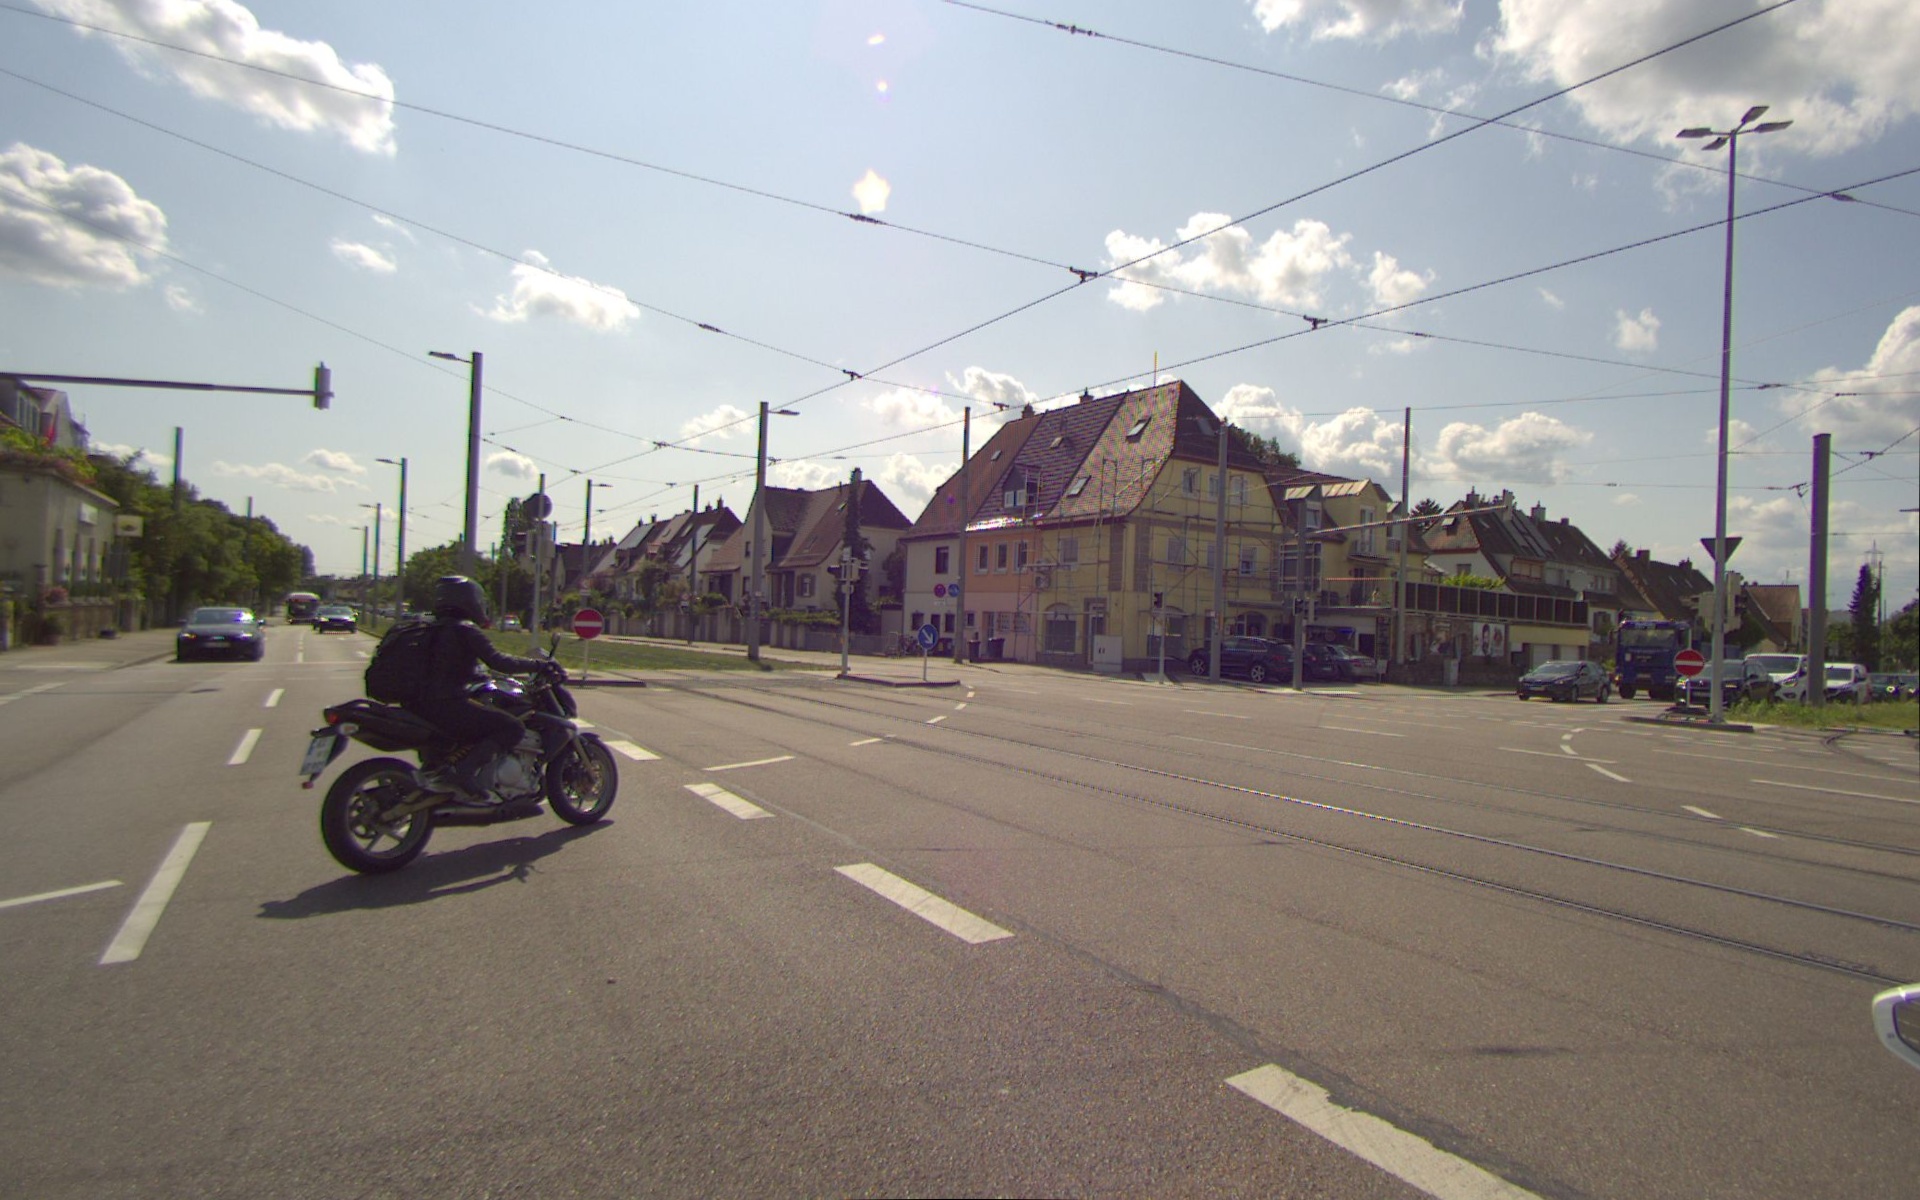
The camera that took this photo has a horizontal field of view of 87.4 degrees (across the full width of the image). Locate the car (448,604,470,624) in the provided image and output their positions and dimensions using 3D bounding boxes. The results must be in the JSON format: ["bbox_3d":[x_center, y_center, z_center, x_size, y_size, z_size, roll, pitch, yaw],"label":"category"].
[{"bbox_3d":[-54.097,1.497,108.384,1.976,2.040,3.970,2,-1,-29],"label":"car"}]

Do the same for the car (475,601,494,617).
[{"bbox_3d":[-62.796,1.174,132.572,1.976,2.040,3.970,2,-2,-29],"label":"car"}]

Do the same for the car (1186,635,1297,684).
[{"bbox_3d":[10.613,2.209,38.077,1.169,1.513,4.101,3,0,-38],"label":"car"}]

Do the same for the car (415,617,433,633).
[{"bbox_3d":[-69.079,3.194,129.496,1.976,2.040,3.970,2,-1,-29],"label":"car"}]

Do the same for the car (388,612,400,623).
[{"bbox_3d":[-101.096,3.113,179.385,1.780,1.739,3.970,2,-1,-29],"label":"car"}]

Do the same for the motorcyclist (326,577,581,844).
[{"bbox_3d":[-2.990,0.574,6.004,0.811,1.417,1.097,1,2,31],"label":"motorcyclist"}]

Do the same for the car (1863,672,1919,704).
[{"bbox_3d":[46.713,4.347,50.045,4.876,1.432,1.828,4,-2,-39],"label":"car"}]

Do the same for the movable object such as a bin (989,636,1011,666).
[{"bbox_3d":[1.761,2.271,44.487,0.675,1.277,0.677,2,0,-34],"label":"movable object such as a bin"}]

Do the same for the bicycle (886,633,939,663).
[{"bbox_3d":[-2.286,2.306,48.333,2.429,1.373,0.770,3,0,-30],"label":"bicycle"}]

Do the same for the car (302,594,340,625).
[{"bbox_3d":[-45.440,0.686,71.506,1.976,2.040,3.970,3,-1,-29],"label":"car"}]

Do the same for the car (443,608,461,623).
[{"bbox_3d":[-60.781,1.896,120.147,1.780,1.739,3.970,2,-1,-29],"label":"car"}]

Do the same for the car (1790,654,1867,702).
[{"bbox_3d":[36.118,3.228,41.758,4.369,1.805,1.718,3,-2,-40],"label":"car"}]

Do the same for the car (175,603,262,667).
[{"bbox_3d":[-20.136,0.920,27.399,1.730,1.605,3.887,3,-1,-35],"label":"car"}]

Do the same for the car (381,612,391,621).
[{"bbox_3d":[-113.581,3.288,198.744,1.781,1.739,3.967,2,-1,-31],"label":"car"}]

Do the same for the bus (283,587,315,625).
[{"bbox_3d":[-71.050,0.624,107.842,2.378,3.826,11.902,3,-1,-35],"label":"bus"}]

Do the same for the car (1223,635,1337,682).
[{"bbox_3d":[12.636,2.304,39.859,1.494,1.513,4.101,3,0,-38],"label":"car"}]

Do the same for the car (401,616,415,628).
[{"bbox_3d":[-84.436,3.380,153.653,1.780,1.739,3.970,2,-1,-29],"label":"car"}]

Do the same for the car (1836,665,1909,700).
[{"bbox_3d":[41.513,3.729,45.674,3.967,1.437,1.899,4,-2,-39],"label":"car"}]

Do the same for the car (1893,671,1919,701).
[{"bbox_3d":[52.231,4.653,54.362,4.814,1.513,1.829,4,-2,-38],"label":"car"}]

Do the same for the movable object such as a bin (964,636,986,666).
[{"bbox_3d":[0.648,2.219,43.777,0.675,1.277,0.677,2,0,-34],"label":"movable object such as a bin"}]

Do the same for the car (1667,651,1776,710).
[{"bbox_3d":[24.955,2.587,32.880,4.401,1.743,1.773,2,-1,-38],"label":"car"}]

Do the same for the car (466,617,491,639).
[{"bbox_3d":[-47.704,2.773,99.513,1.976,2.040,3.970,2,-1,-29],"label":"car"}]

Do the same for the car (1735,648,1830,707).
[{"bbox_3d":[30.077,2.813,36.683,4.709,1.947,1.799,3,-2,-40],"label":"car"}]

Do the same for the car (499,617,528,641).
[{"bbox_3d":[-38.738,2.503,87.094,1.976,2.040,3.970,2,-1,-29],"label":"car"}]

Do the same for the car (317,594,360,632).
[{"bbox_3d":[-36.163,0.747,58.421,1.886,2.040,3.679,3,-2,-34],"label":"car"}]

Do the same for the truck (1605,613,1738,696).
[{"bbox_3d":[30.624,2.358,43.088,7.520,3.230,2.746,4,-2,-39],"label":"truck"}]

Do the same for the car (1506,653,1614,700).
[{"bbox_3d":[21.498,2.728,35.927,4.294,1.506,1.815,4,-2,-37],"label":"car"}]

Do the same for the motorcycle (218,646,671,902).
[{"bbox_3d":[-2.945,0.899,6.087,0.829,1.143,2.354,1,0,31],"label":"motorcycle"}]

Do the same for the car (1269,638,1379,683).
[{"bbox_3d":[14.896,2.446,41.299,1.422,1.513,4.101,3,0,-38],"label":"car"}]
